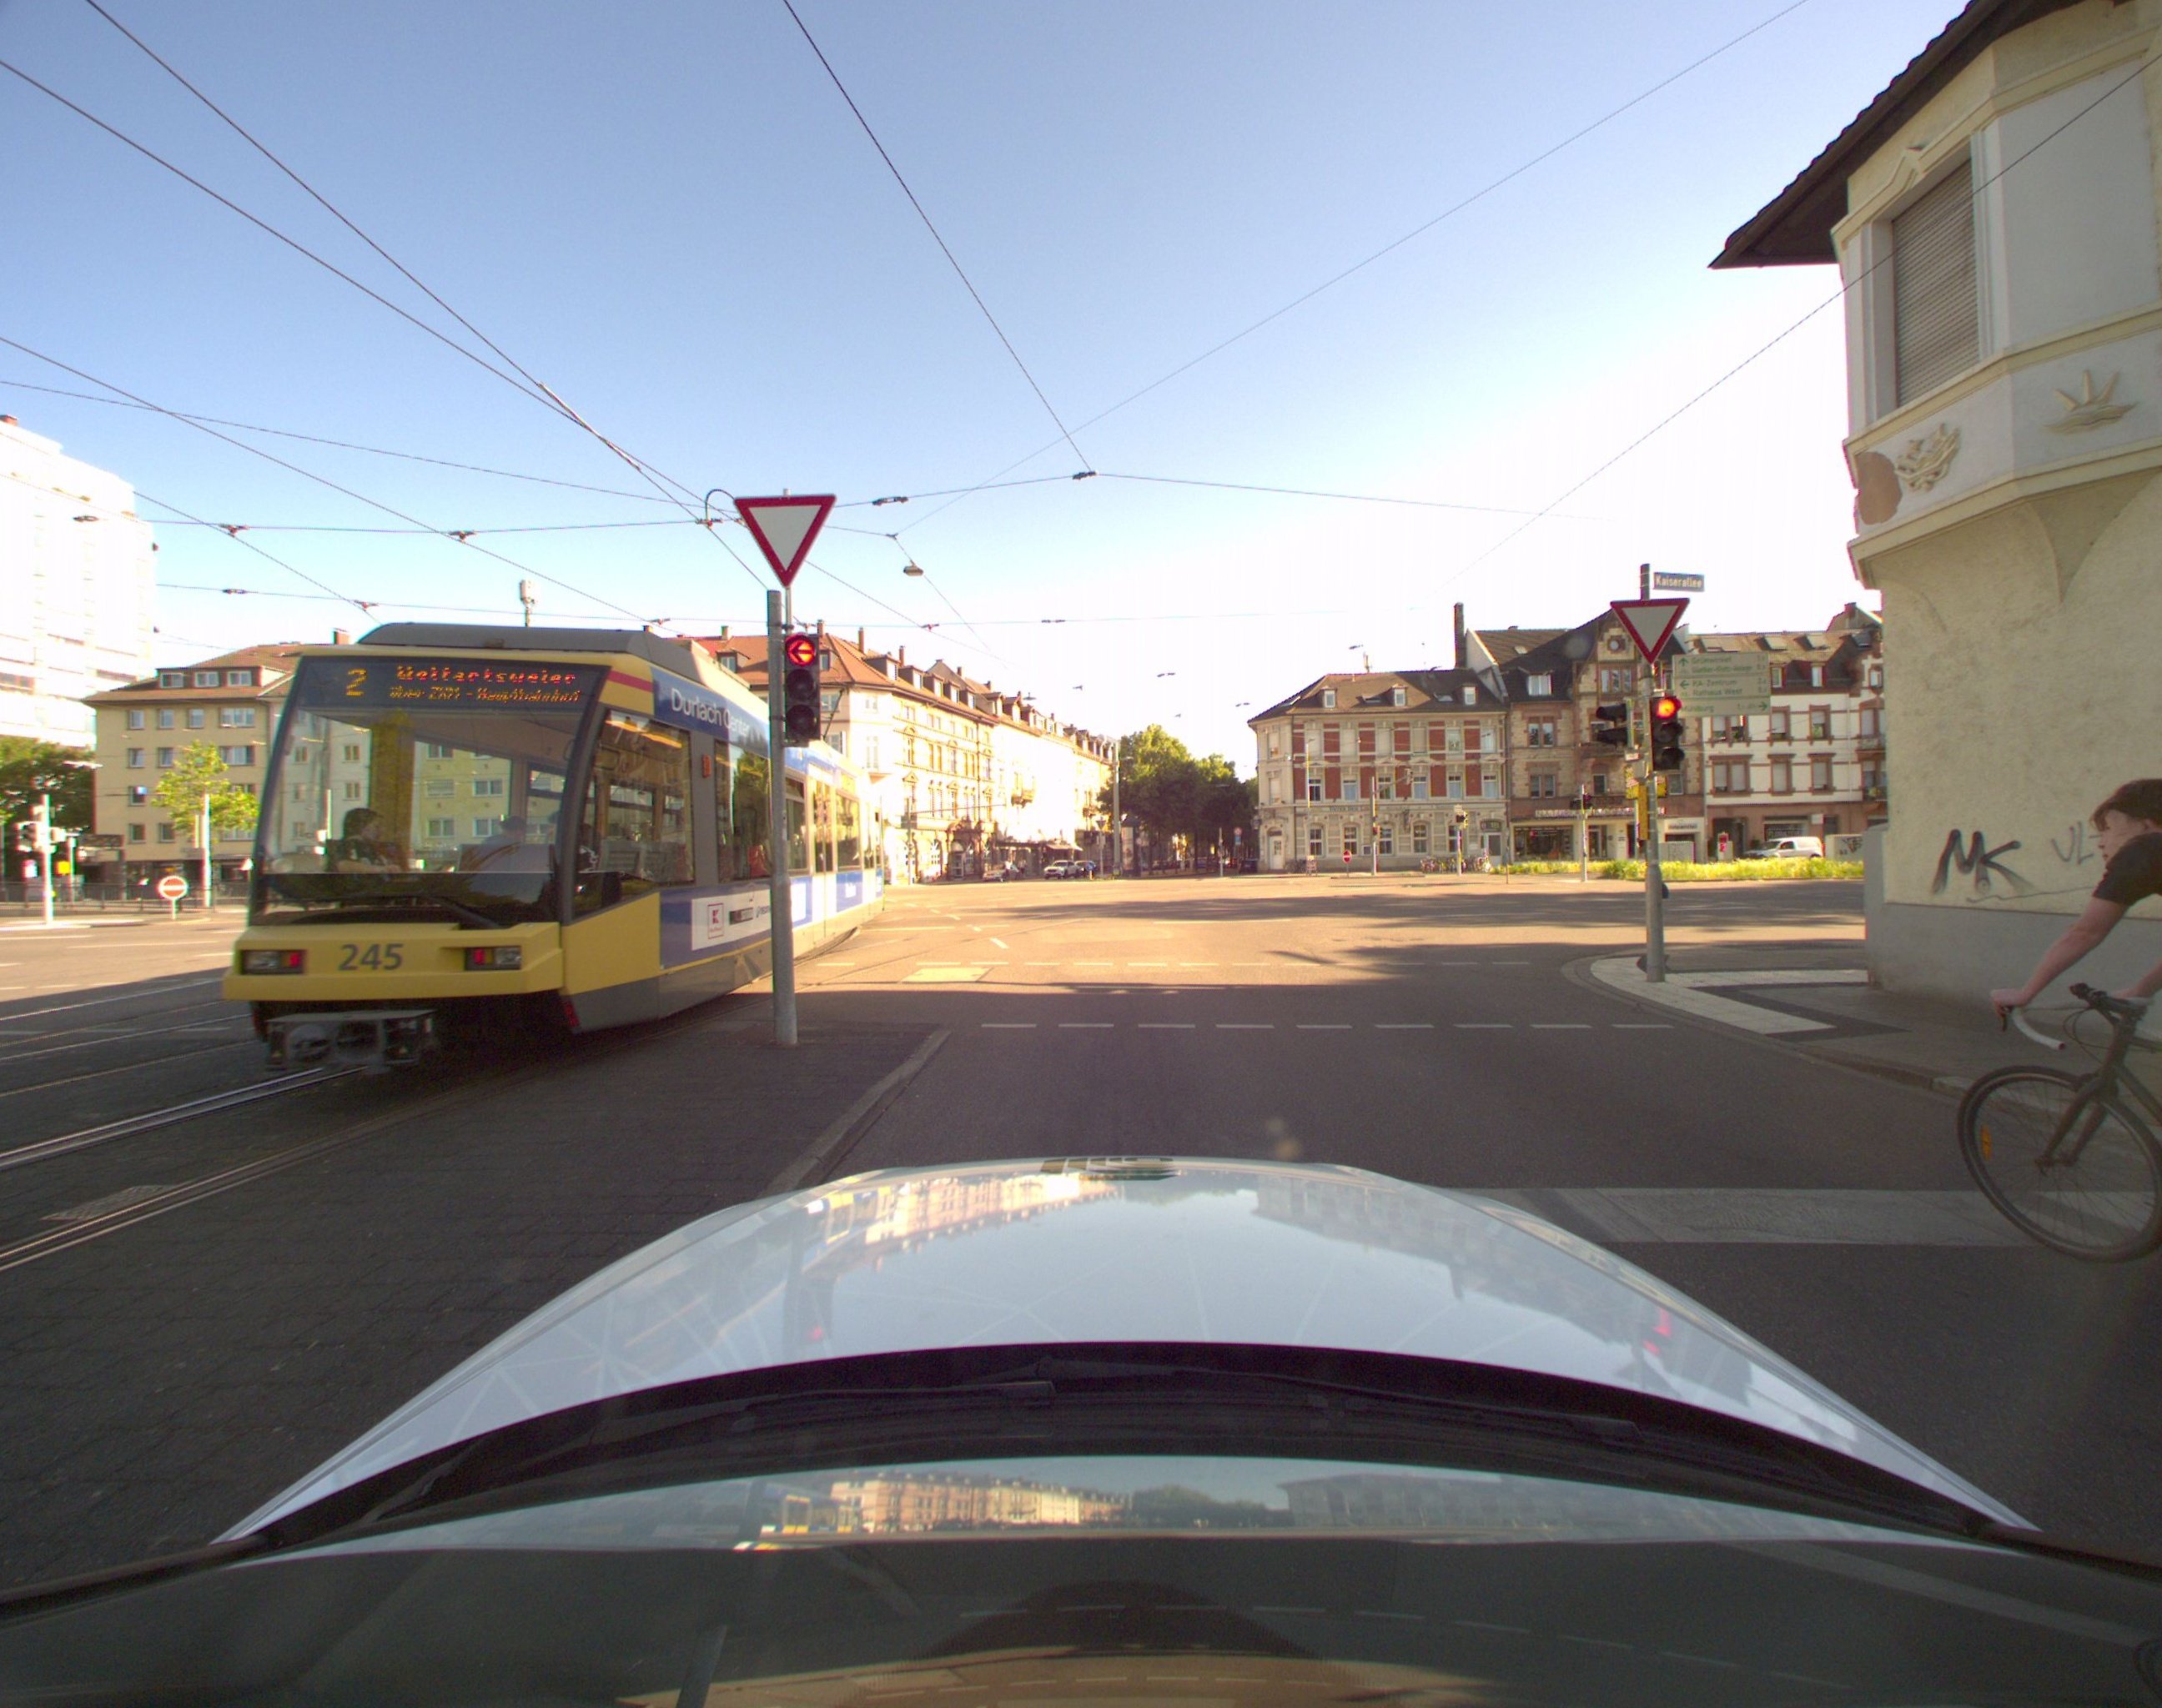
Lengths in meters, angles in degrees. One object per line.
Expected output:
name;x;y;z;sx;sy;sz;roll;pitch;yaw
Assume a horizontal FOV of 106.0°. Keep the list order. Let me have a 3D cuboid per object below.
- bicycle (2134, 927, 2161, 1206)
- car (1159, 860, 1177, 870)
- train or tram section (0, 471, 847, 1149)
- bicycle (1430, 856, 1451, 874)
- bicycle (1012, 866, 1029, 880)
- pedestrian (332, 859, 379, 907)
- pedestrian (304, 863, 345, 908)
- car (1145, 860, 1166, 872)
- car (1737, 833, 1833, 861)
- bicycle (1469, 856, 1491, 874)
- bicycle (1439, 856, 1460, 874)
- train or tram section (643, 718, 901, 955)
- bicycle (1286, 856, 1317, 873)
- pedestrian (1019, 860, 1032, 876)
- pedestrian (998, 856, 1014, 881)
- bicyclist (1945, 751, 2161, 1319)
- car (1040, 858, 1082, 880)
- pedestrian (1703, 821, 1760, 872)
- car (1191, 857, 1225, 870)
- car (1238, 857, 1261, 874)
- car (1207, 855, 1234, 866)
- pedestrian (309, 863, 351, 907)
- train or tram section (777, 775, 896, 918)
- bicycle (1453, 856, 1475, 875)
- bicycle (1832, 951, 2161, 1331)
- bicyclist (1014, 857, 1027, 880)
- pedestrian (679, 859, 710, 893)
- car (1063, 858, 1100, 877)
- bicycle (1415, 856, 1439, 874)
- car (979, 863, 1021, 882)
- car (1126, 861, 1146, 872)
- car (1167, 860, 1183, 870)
bicycle;4.537;0.852;2.426;0.516;1.116;1.815;-2;0;4
car;13.898;1.728;130.314;1.822;1.552;4.412;-2;0;19
train or tram section;-4.585;-0.259;8.324;2.811;3.500;7.944;-1;0;-6
bicycle;23.274;0.706;52.821;0.615;1.143;2.178;-2;0;7
bicycle;-4.823;1.515;65.274;0.675;1.066;2.133;-2;0;14
pedestrian;-27.768;1.098;31.198;0.939;1.775;1.006;-1;0;-11
pedestrian;-28.069;1.152;30.246;0.945;1.598;0.999;-1;0;-34
car;11.240;1.755;122.581;1.977;1.612;4.413;-2;0;20
car;45.355;-0.454;52.541;4.317;1.640;2.152;-2;0;1
bicycle;25.751;0.705;52.583;0.606;1.136;2.139;-2;0;7
bicycle;23.853;0.687;52.768;0.615;1.143;2.178;-2;0;7
train or tram section;-5.540;-0.289;16.438;2.812;3.499;8.442;-1;0;-7
bicycle;15.495;0.735;57.172;2.081;1.124;0.366;0;-1;-3
pedestrian;-5.488;1.351;80.919;0.921;1.535;1.142;-1;0;16
pedestrian;-5.269;1.017;57.172;1.047;1.744;0.805;-1;0;-14
bicyclist;3.602;0.554;2.574;0.559;1.754;1.102;-1;0;4
car;-1.614;1.256;67.518;1.977;1.684;4.413;-2;0;20
pedestrian;27.112;-0.294;33.984;1.314;2.044;1.307;-1;0;1
car;17.922;1.335;115.150;4.335;1.612;2.012;-2;0;28
car;17.007;1.158;82.198;1.978;1.585;4.017;-2;0;16
car;22.816;1.003;133.285;3.948;1.706;2.013;-2;0;32
pedestrian;-28.651;1.172;31.083;0.944;1.598;0.999;-1;0;-31
train or tram section;-7.949;-0.180;26.003;2.778;3.499;11.954;-1;0;-18
bicycle;24.774;0.726;52.673;0.615;1.143;2.178;-2;0;7
bicycle;3.616;0.941;2.651;0.642;1.010;1.930;-2;0;4
bicyclist;-4.819;1.134;65.318;0.674;1.820;1.075;-2;0;14
pedestrian;-20.132;1.142;42.441;1.076;1.685;1.104;-1;0;1
car;0.109;1.225;73.995;1.977;1.612;4.413;-2;0;20
bicycle;22.496;0.715;52.970;0.802;1.143;2.178;-2;0;7
car;-6.690;1.524;67.360;1.883;1.455;4.020;-2;0;20
car;7.521;1.688;110.961;1.978;1.486;4.017;-1;0;16
car;15.815;1.750;136.148;1.750;1.549;4.411;-2;0;18
